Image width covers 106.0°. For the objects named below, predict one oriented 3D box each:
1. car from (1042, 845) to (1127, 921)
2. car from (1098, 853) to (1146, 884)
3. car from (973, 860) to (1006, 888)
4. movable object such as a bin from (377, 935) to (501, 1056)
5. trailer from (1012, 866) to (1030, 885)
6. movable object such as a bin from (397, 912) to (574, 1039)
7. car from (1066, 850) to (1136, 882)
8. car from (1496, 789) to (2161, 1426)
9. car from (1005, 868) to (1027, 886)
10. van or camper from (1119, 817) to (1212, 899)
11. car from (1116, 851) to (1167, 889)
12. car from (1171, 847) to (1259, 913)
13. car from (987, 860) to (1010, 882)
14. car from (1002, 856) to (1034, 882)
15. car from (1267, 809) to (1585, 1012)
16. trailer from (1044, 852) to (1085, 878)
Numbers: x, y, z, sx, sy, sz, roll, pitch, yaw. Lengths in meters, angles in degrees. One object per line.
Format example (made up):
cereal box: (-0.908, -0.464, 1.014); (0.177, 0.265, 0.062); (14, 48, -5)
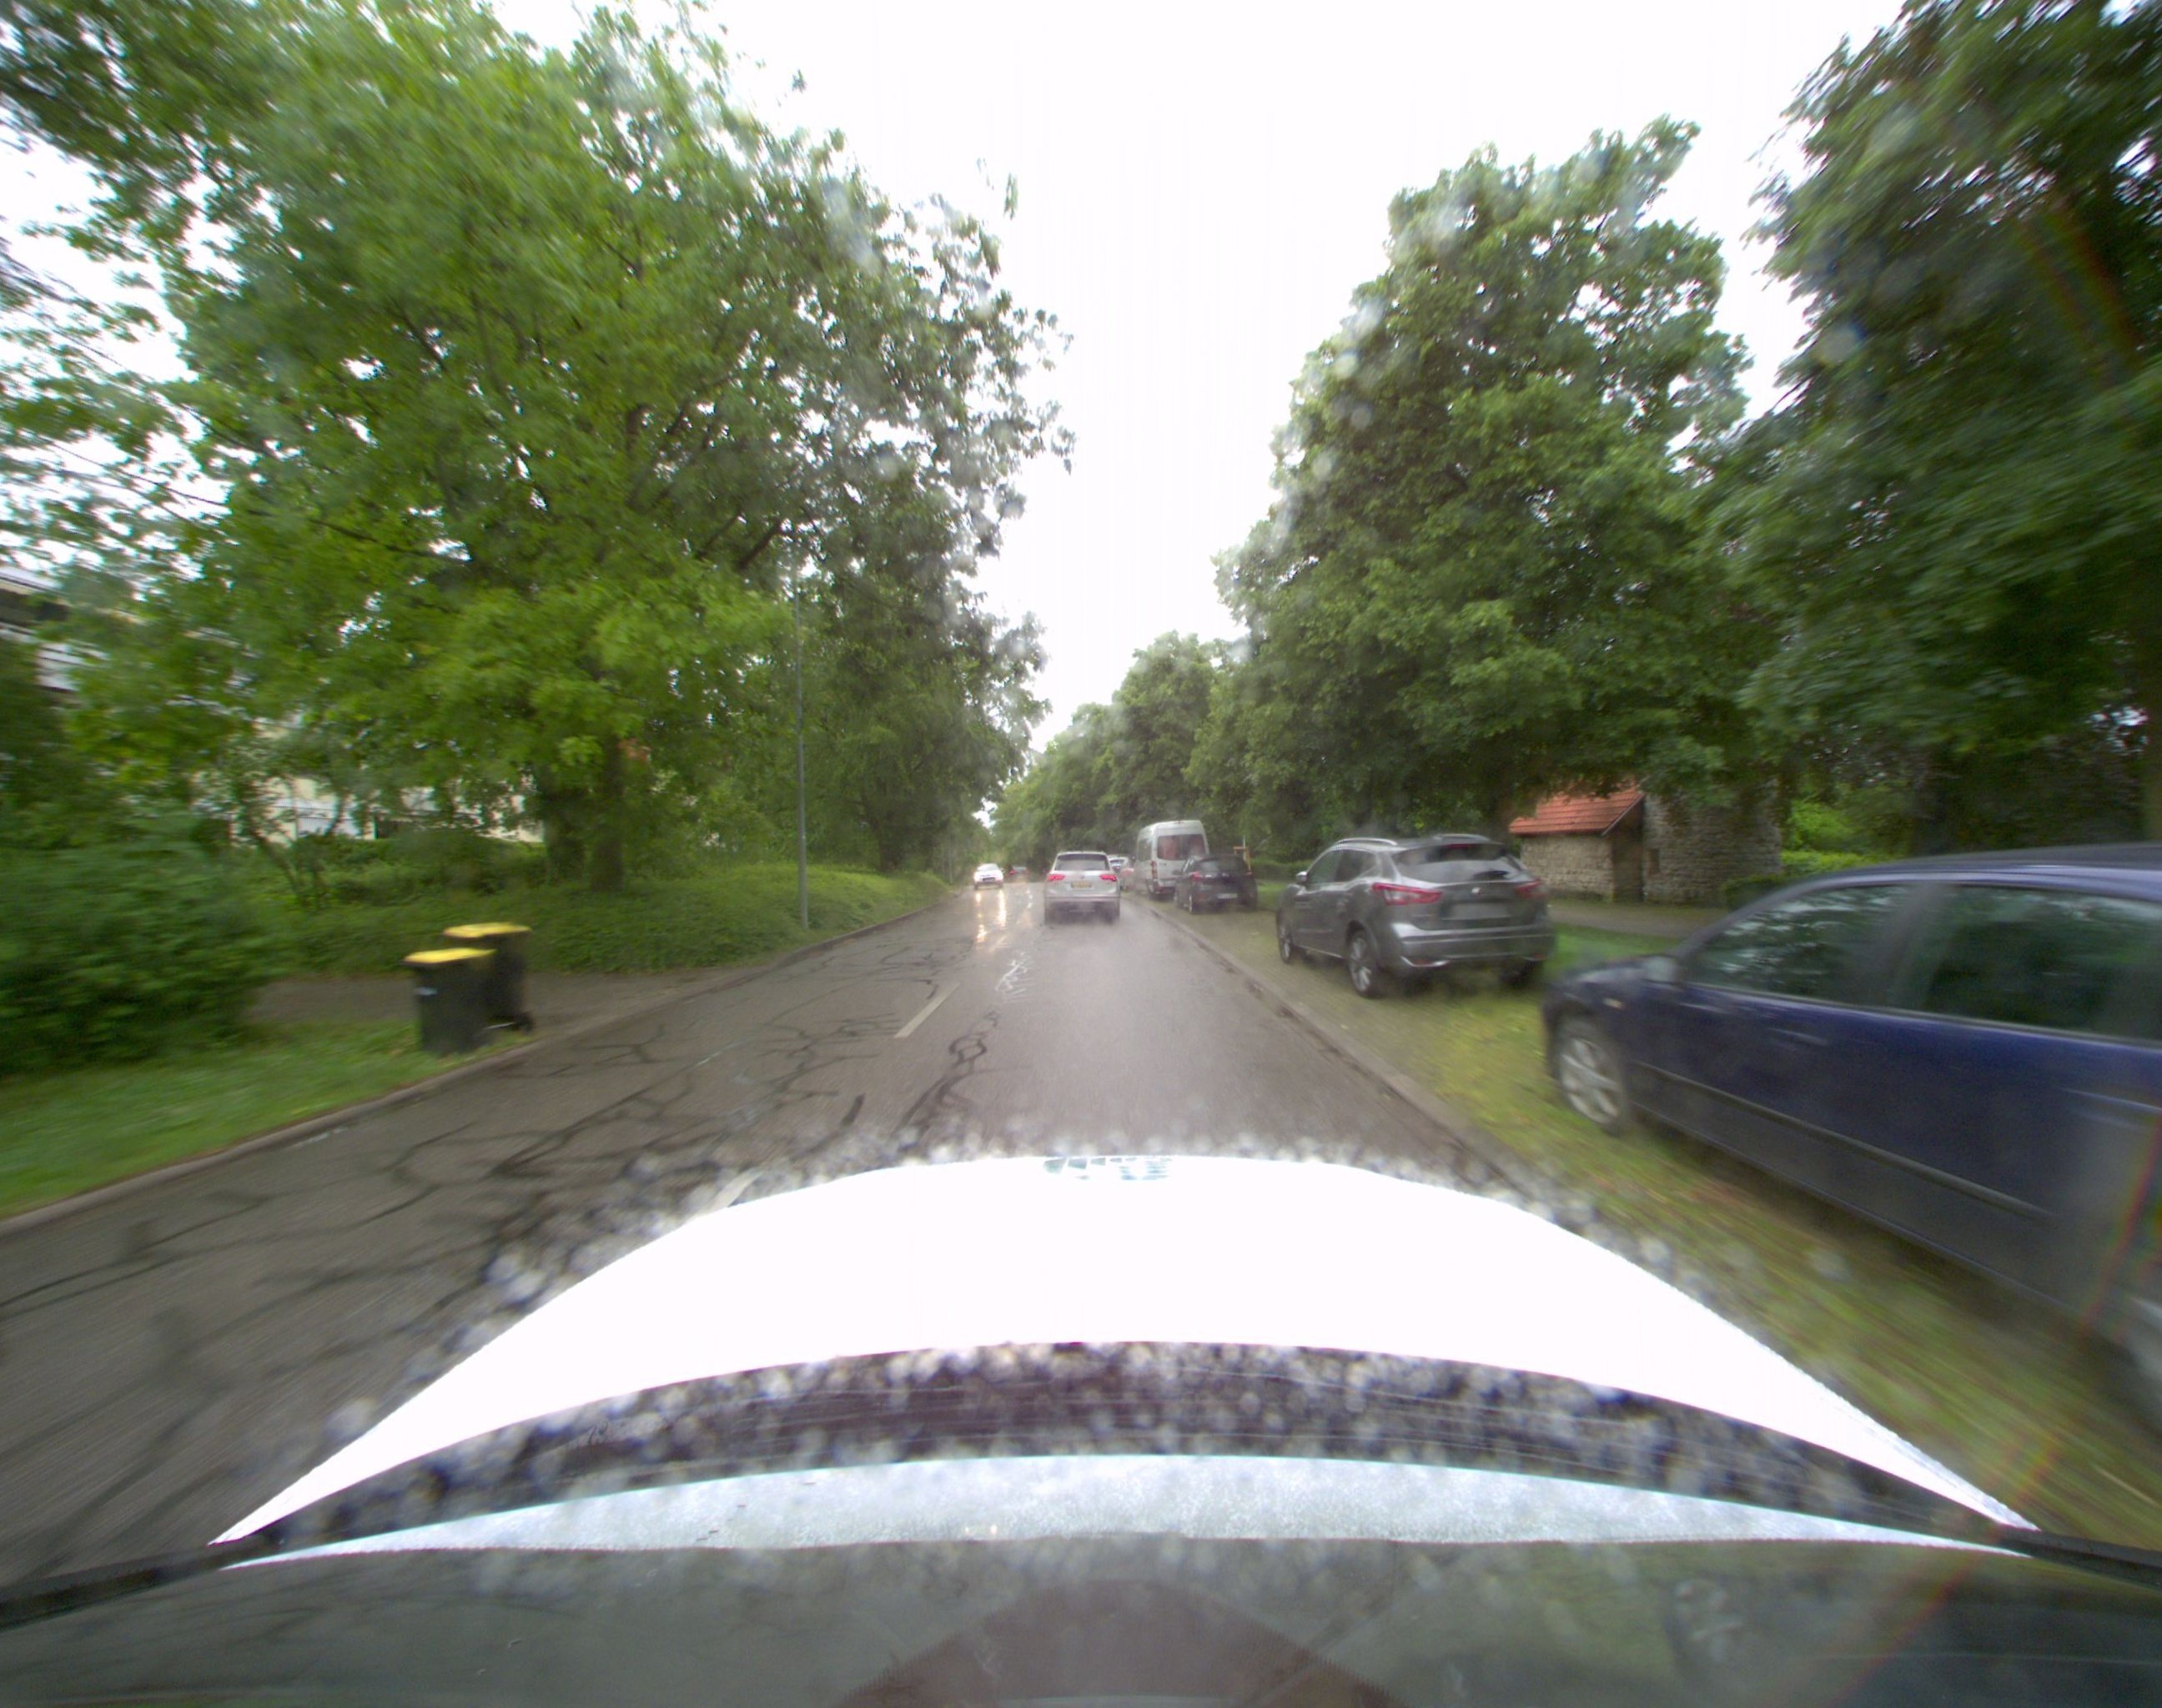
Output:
car: (0.058, 0.662, 20.819); (1.899, 1.685, 4.199); (-2, 0, -1)
car: (2.127, 0.738, 43.386); (1.990, 1.497, 4.559); (-2, 0, -4)
car: (-5.427, 1.160, 48.785); (1.662, 1.477, 3.727); (-4, 0, -4)
movable object such as a bin: (-5.741, 1.252, 7.311); (0.645, 0.979, 0.578); (0, 0, 2)
trailer: (-7.159, 2.595, 96.615); (1.530, 2.076, 3.984); (-3, -3, -11)
movable object such as a bin: (-5.885, 1.171, 8.114); (1.033, 1.105, 0.967); (0, 0, 2)
car: (1.163, 0.746, 48.538); (3.956, 1.681, 1.621); (-5, -2, 42)
car: (3.376, 0.530, 3.003); (1.736, 1.452, 4.003); (-4, 0, 3)
car: (-8.085, 2.881, 101.299); (1.995, 1.910, 5.484); (-2, -4, -12)
van or camper: (2.892, 0.079, 30.186); (2.012, 2.583, 8.423); (0, 1, -4)
car: (2.679, 0.678, 36.849); (1.800, 1.539, 4.264); (-3, 0, -2)
car: (3.486, 0.624, 21.829); (1.857, 1.511, 3.727); (-2, 0, 3)
car: (-8.518, 1.764, 84.313); (1.994, 2.013, 3.986); (-2, 1, -11)
car: (-5.363, 1.222, 69.242); (1.997, 2.013, 3.981); (-2, 1, -14)
car: (3.565, 0.485, 9.385); (1.776, 1.719, 4.260); (-3, 0, 0)
trailer: (-1.401, 0.937, 65.677); (2.450, 1.813, 5.870); (-3, -2, -10)
